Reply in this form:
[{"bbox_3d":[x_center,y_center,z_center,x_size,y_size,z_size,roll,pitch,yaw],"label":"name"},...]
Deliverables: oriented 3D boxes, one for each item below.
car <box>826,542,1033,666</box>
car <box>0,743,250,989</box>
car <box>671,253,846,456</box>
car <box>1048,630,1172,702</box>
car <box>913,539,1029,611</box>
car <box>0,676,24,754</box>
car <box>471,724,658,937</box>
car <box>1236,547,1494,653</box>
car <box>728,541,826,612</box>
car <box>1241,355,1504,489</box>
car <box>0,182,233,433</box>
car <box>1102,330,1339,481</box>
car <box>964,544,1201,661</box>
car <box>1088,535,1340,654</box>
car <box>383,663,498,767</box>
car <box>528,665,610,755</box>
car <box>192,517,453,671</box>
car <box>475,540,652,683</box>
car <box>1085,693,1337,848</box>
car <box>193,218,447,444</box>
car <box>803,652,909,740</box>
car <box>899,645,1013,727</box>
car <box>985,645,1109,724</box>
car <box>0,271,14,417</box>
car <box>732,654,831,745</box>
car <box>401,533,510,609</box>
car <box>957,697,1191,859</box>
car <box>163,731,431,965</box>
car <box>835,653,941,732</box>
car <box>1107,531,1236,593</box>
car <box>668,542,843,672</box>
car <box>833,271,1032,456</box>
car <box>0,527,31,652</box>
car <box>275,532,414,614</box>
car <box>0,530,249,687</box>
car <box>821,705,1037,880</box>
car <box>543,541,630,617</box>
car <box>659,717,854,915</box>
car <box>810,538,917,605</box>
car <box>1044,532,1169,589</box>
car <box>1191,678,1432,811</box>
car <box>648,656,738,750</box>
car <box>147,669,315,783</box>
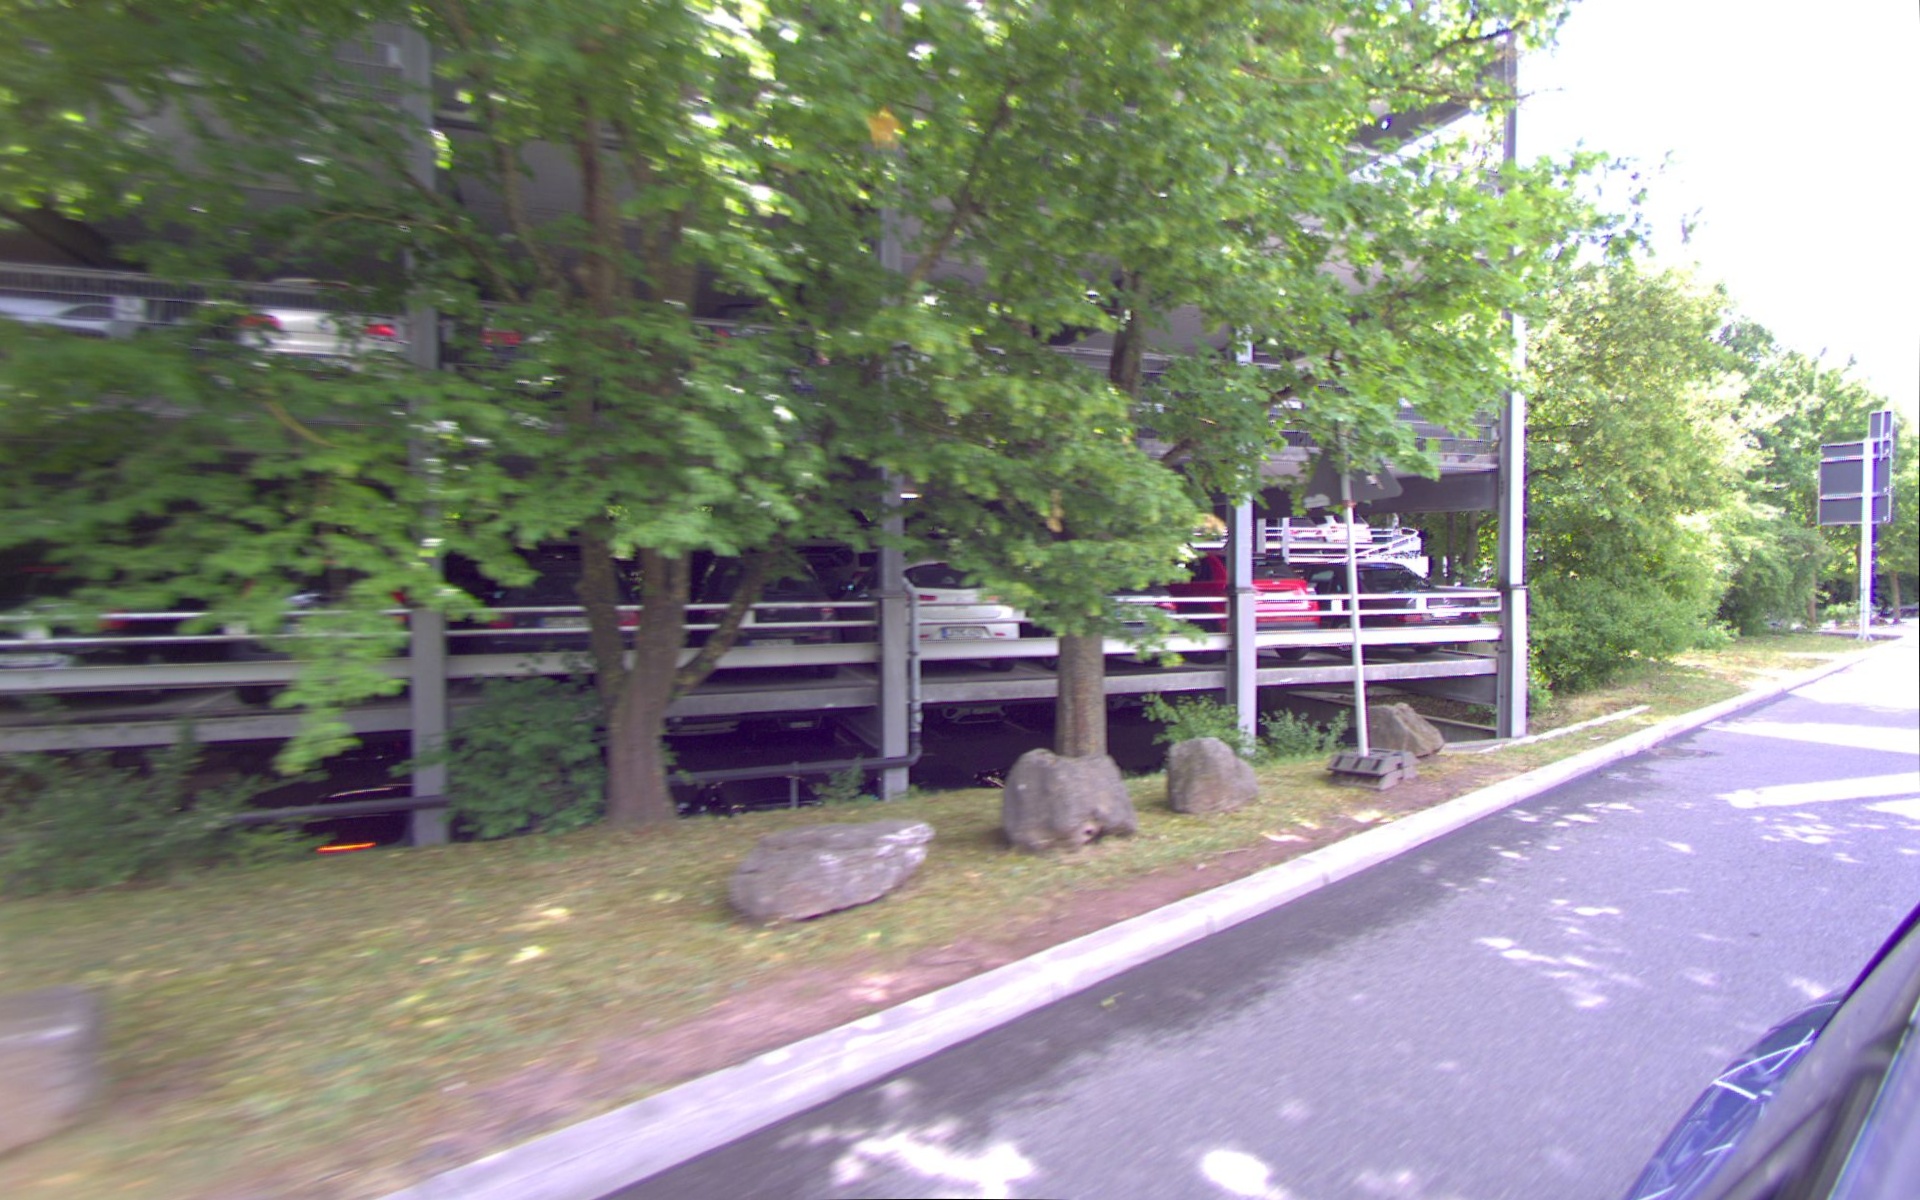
[{"bbox_3d":[-0.567,-0.037,13.622,1.660,1.409,3.866,-1,2,-20],"label":"car"},{"bbox_3d":[-9.160,2.630,10.729,1.798,1.470,3.866,-1,2,-22],"label":"car"},{"bbox_3d":[-2.640,-2.855,12.598,1.624,1.639,3.712,2,2,-19],"label":"car"},{"bbox_3d":[4.012,1.734,27.753,1.716,1.442,3.868,-1,4,-20],"label":"car"},{"bbox_3d":[0.197,-0.701,25.913,1.716,1.665,3.868,-1,4,-20],"label":"car"},{"bbox_3d":[-19.692,2.441,19.031,1.660,1.464,3.868,-1,4,-20],"label":"car"},{"bbox_3d":[-4.789,2.582,12.313,1.798,1.470,3.866,-1,2,-22],"label":"car"},{"bbox_3d":[6.072,-0.078,15.642,1.624,1.429,3.712,-1,2,-20],"label":"car"},{"bbox_3d":[-4.386,-0.624,23.886,1.660,1.503,3.868,-1,4,-20],"label":"car"},{"bbox_3d":[6.098,-2.579,15.433,1.624,1.429,3.712,2,2,-19],"label":"car"},{"bbox_3d":[-9.016,-2.803,10.273,1.624,1.639,3.712,2,2,-19],"label":"car"},{"bbox_3d":[3.733,-2.769,15.177,1.624,1.582,3.712,2,2,-19],"label":"car"},{"bbox_3d":[1.548,-0.052,14.274,1.775,1.409,3.866,-1,2,-20],"label":"car"},{"bbox_3d":[3.633,-0.151,15.228,1.798,1.533,3.866,-1,2,-20],"label":"car"},{"bbox_3d":[-10.845,2.319,21.378,1.660,1.464,3.868,-1,4,-20],"label":"car"},{"bbox_3d":[-8.682,2.365,22.619,1.572,1.351,3.636,-1,4,-20],"label":"car"},{"bbox_3d":[-6.871,-0.133,11.347,1.660,1.409,3.866,-1,2,-20],"label":"car"},{"bbox_3d":[-4.643,0.032,12.068,1.660,1.409,3.866,-1,2,-20],"label":"car"},{"bbox_3d":[3.621,2.430,15.339,1.798,1.470,3.866,-1,2,-22],"label":"car"},{"bbox_3d":[-7.142,-2.880,11.690,1.624,1.639,3.712,2,2,-19],"label":"car"},{"bbox_3d":[-2.582,2.225,24.428,1.660,1.464,3.868,-1,4,-20],"label":"car"},{"bbox_3d":[-0.201,2.115,25.895,1.716,1.483,3.868,-1,4,-20],"label":"car"},{"bbox_3d":[2.155,2.103,26.204,1.716,1.442,3.868,-1,4,-20],"label":"car"},{"bbox_3d":[-10.931,-2.823,9.480,1.624,1.582,3.712,2,2,-19],"label":"car"},{"bbox_3d":[-4.278,2.246,23.780,1.660,1.464,3.868,-1,4,-20],"label":"car"},{"bbox_3d":[-10.866,-0.698,22.041,1.660,1.503,3.868,-1,4,-20],"label":"car"},{"bbox_3d":[1.498,2.434,14.834,1.798,1.470,3.866,-1,2,-22],"label":"car"},{"bbox_3d":[-7.304,2.597,11.579,1.798,1.470,3.866,-1,2,-22],"label":"car"},{"bbox_3d":[-1.865,2.217,25.090,1.644,1.327,3.868,-1,4,-20],"label":"car"},{"bbox_3d":[5.822,-1.113,28.309,1.732,1.569,3.946,0,4,-19],"label":"car"},{"bbox_3d":[-2.763,-0.008,13.031,1.660,1.409,3.866,-1,2,-20],"label":"car"},{"bbox_3d":[-0.520,-3.028,13.751,1.624,1.662,3.712,2,2,-19],"label":"car"},{"bbox_3d":[-11.240,-0.062,9.983,1.660,1.409,3.866,-1,2,-20],"label":"car"},{"bbox_3d":[-12.462,-0.628,20.734,1.660,1.503,3.868,-1,4,-20],"label":"car"},{"bbox_3d":[-9.265,0.002,10.886,1.660,1.409,3.866,-1,2,-20],"label":"car"},{"bbox_3d":[-0.588,2.496,14.109,1.798,1.470,3.866,-1,2,-22],"label":"car"},{"bbox_3d":[-8.314,-0.534,22.607,1.660,1.503,3.868,-1,4,-20],"label":"car"},{"bbox_3d":[-2.755,2.564,12.994,1.798,1.470,3.866,-1,2,-22],"label":"car"},{"bbox_3d":[-2.454,-0.762,24.901,1.716,1.503,3.868,-1,4,-20],"label":"car"},{"bbox_3d":[3.896,-1.122,27.573,1.716,1.442,3.868,-1,4,-20],"label":"car"},{"bbox_3d":[5.703,2.284,16.912,1.798,1.470,3.743,-1,2,-22],"label":"car"},{"bbox_3d":[-6.160,2.264,23.130,1.660,1.464,3.868,-1,4,-20],"label":"car"},{"bbox_3d":[-14.236,2.375,20.003,1.660,1.464,3.868,-1,4,-20],"label":"car"}]
